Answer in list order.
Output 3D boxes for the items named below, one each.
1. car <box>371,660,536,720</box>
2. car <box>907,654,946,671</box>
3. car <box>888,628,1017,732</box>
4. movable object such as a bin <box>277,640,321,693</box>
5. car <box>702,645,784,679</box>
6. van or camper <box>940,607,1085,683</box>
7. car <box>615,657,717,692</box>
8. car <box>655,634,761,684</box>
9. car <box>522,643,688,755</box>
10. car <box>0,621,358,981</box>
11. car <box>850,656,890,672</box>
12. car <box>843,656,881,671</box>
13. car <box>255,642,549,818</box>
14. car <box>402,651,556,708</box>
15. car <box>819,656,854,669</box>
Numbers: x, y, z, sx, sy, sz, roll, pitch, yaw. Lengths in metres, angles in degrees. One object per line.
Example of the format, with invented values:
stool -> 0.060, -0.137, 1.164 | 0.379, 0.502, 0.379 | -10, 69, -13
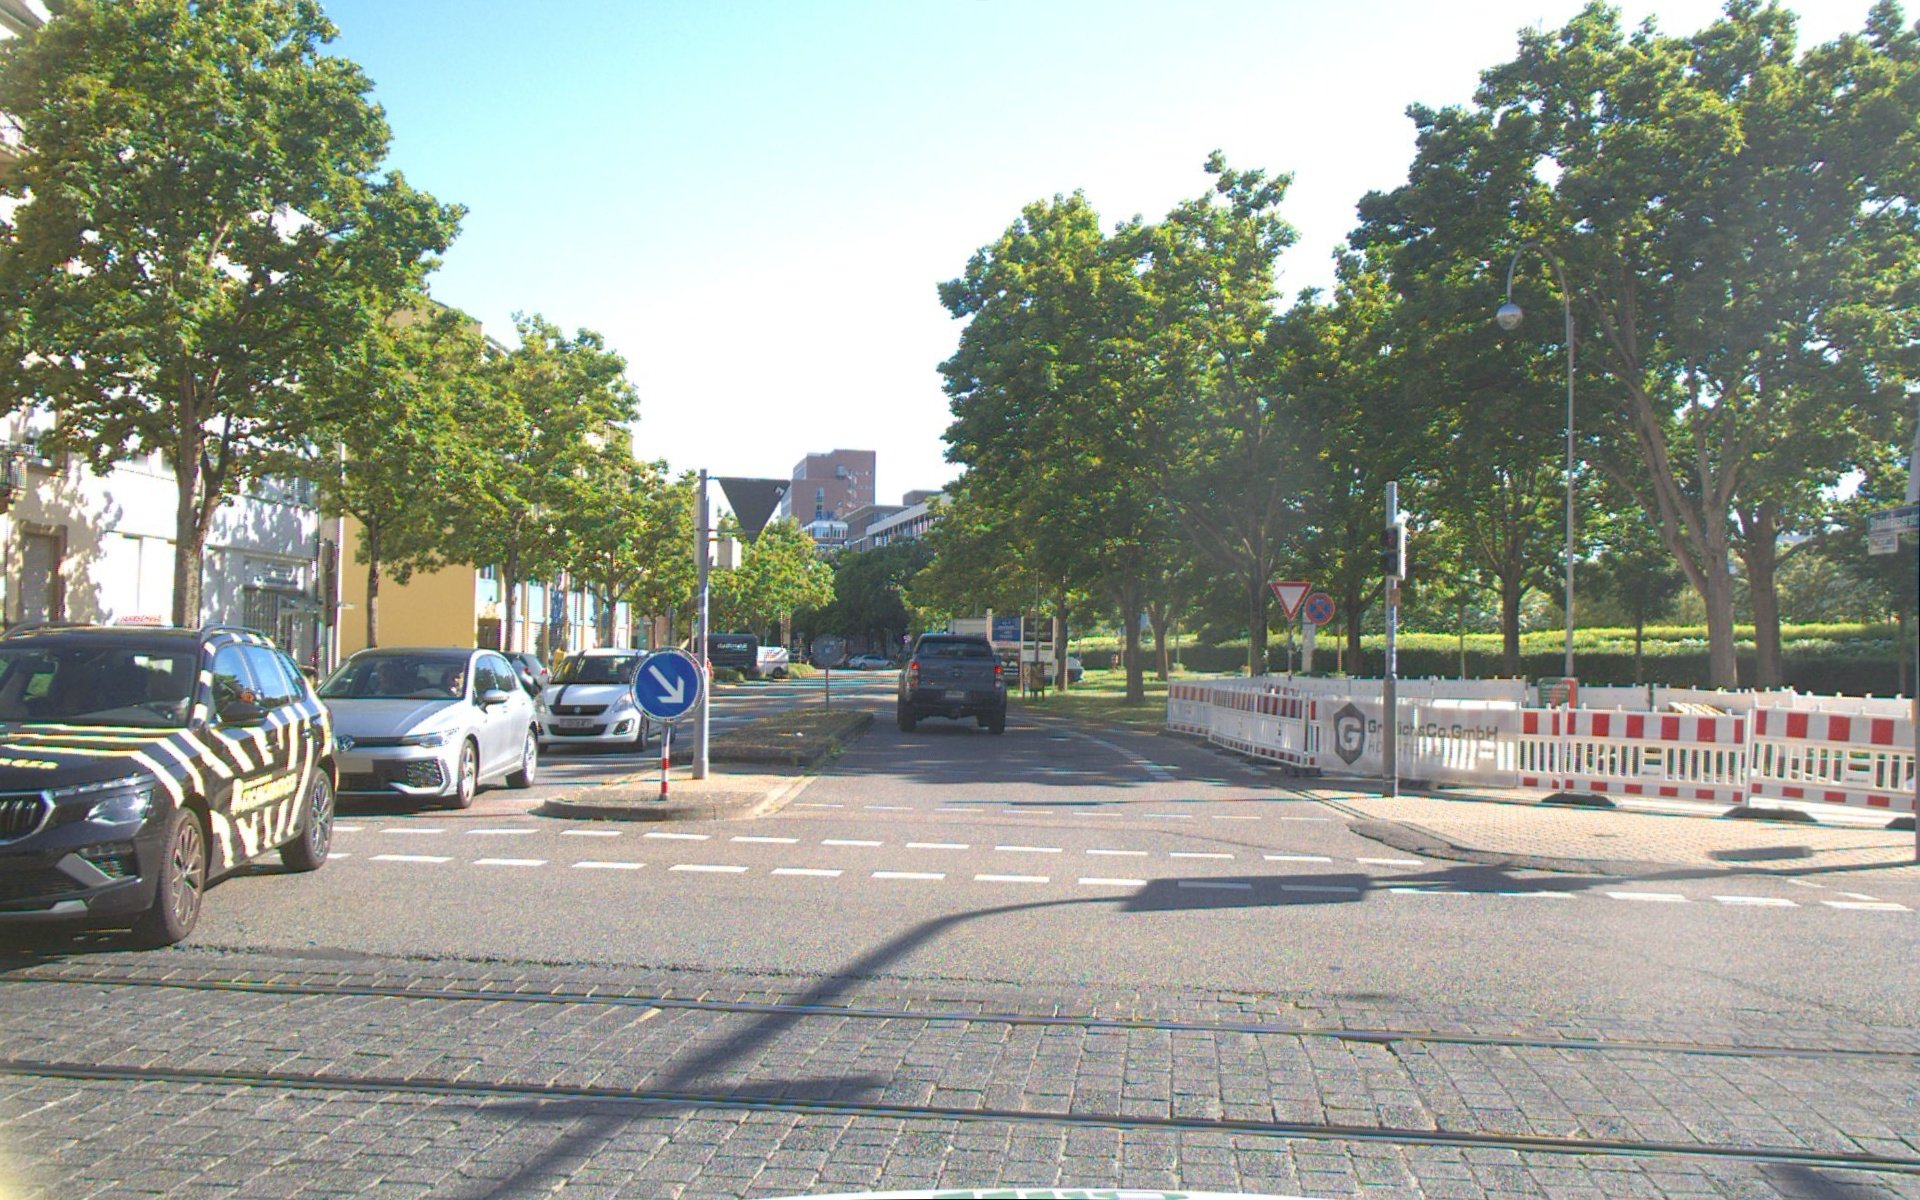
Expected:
car -> -13.441, 2.391, 43.972 | 3.838, 1.537, 1.807 | 2, -3, -34
car -> -2.784, 5.174, 137.841 | 3.179, 1.300, 1.515 | -2, -2, -3
car -> -0.246, 1.499, 32.392 | 2.091, 1.868, 4.934 | 1, -1, -5
movable object such as a bin -> -12.611, 1.273, 31.564 | 0.503, 0.993, 0.639 | 1, -2, 9
car -> -13.795, 3.945, 105.211 | 4.845, 2.120, 1.960 | 1, -2, -36
van or camper -> 2.194, 1.927, 70.737 | 5.957, 2.980, 2.574 | -2, -2, -2
car -> -13.634, 3.415, 76.689 | 4.353, 1.580, 1.905 | 1, -2, -26
car -> -13.297, 3.096, 87.346 | 5.197, 2.590, 1.968 | 1, -2, -27
car -> -5.350, 1.457, 25.361 | 1.670, 1.539, 3.862 | -1, -1, 0
car -> -4.687, 0.901, 9.074 | 1.755, 1.540, 4.108 | 1, -1, -8
car -> -9.119, 6.473, 167.598 | 3.875, 1.421, 1.512 | -2, -2, -10
car -> -10.342, 6.672, 174.625 | 3.875, 1.421, 1.512 | -2, -2, -10
car -> -5.234, 1.163, 16.048 | 1.673, 1.478, 3.848 | 1, -1, -3
car -> -13.650, 2.259, 46.962 | 3.837, 1.537, 1.807 | 2, -3, -33
car -> -14.283, 7.235, 191.068 | 3.875, 1.421, 1.512 | -2, -2, -10
